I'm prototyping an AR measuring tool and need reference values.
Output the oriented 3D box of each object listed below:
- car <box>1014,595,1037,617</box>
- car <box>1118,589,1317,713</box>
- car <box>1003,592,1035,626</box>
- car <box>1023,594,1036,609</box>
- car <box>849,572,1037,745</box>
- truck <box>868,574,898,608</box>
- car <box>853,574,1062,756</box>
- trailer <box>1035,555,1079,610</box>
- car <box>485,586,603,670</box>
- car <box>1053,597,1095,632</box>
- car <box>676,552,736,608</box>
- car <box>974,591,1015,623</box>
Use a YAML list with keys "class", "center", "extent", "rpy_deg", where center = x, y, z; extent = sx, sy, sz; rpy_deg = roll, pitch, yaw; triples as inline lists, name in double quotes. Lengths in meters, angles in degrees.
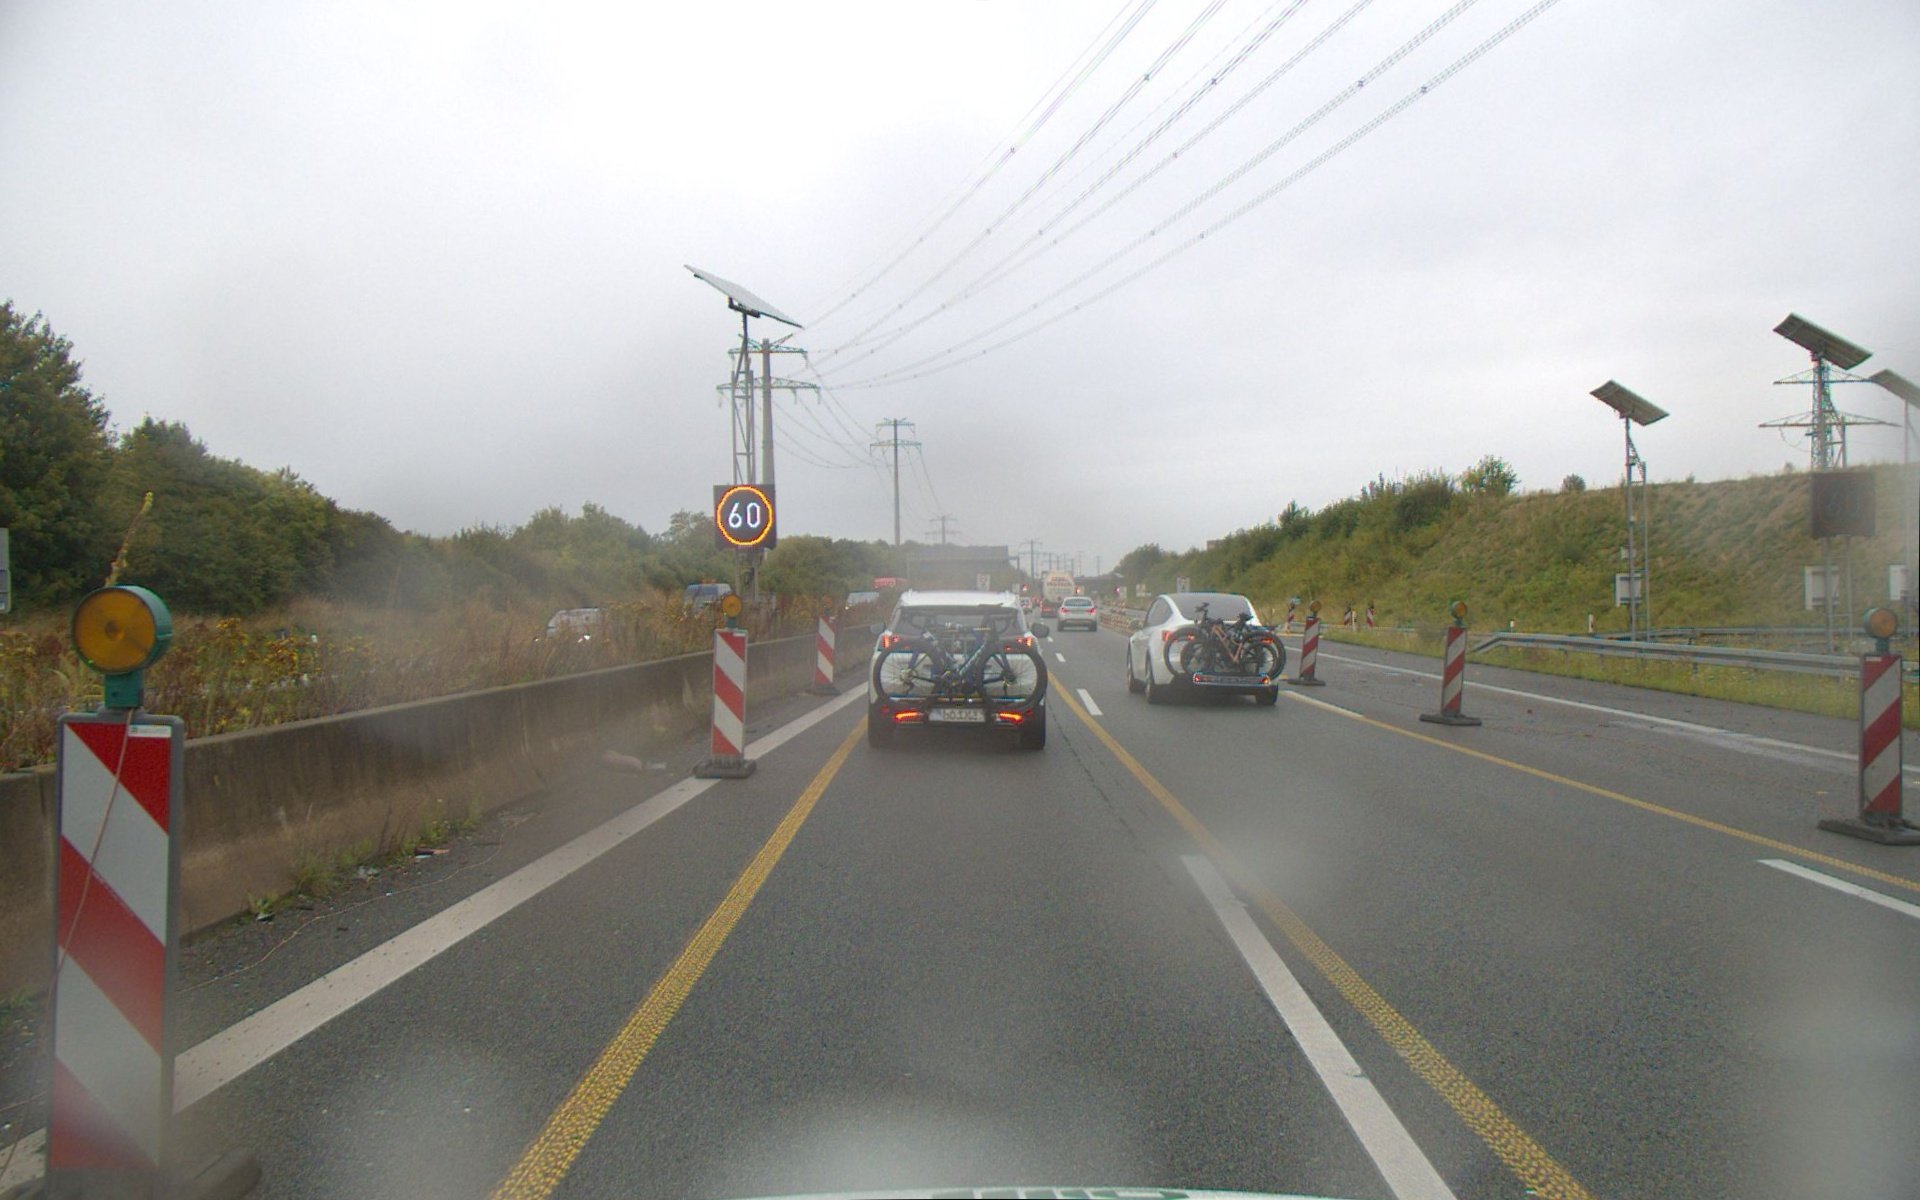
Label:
- class: "car"
  center: [6.357, 0.618, 160.516]
  extent: [1.953, 2.049, 3.999]
  rpy_deg: [1, -1, -1]
- class: "car"
  center: [3.720, 0.682, 24.989]
  extent: [2.004, 1.624, 5.800]
  rpy_deg: [1, 0, -1]
- class: "car"
  center: [4.026, 0.609, 113.824]
  extent: [1.953, 2.048, 4.001]
  rpy_deg: [1, 4, -1]
- class: "car"
  center: [9.060, 0.187, 215.572]
  extent: [1.619, 2.049, 4.002]
  rpy_deg: [0, 0, 3]
- class: "car"
  center: [-0.157, 0.606, 19.469]
  extent: [1.952, 1.791, 4.000]
  rpy_deg: [-1, 0, 1]
- class: "truck"
  center: [-8.579, -0.992, 185.364]
  extent: [2.962, 3.593, 4.927]
  rpy_deg: [1, -1, 1]
- class: "car"
  center: [0.032, 0.590, 17.336]
  extent: [1.888, 1.639, 4.596]
  rpy_deg: [0, 0, 1]
- class: "trailer"
  center: [7.380, -1.265, 127.128]
  extent: [2.584, 3.961, 10.540]
  rpy_deg: [1, -1, -1]
- class: "car"
  center: [-10.767, 0.713, 43.073]
  extent: [1.952, 2.049, 4.000]
  rpy_deg: [1, -1, 1]
- class: "car"
  center: [5.221, 0.637, 75.917]
  extent: [1.831, 1.561, 4.198]
  rpy_deg: [0, 0, 2]
- class: "car"
  center: [-12.884, -0.972, 84.343]
  extent: [2.008, 2.655, 5.847]
  rpy_deg: [1, -1, 1]
- class: "car"
  center: [1.783, 0.341, 86.112]
  extent: [1.953, 1.611, 3.999]
  rpy_deg: [0, 0, -1]
